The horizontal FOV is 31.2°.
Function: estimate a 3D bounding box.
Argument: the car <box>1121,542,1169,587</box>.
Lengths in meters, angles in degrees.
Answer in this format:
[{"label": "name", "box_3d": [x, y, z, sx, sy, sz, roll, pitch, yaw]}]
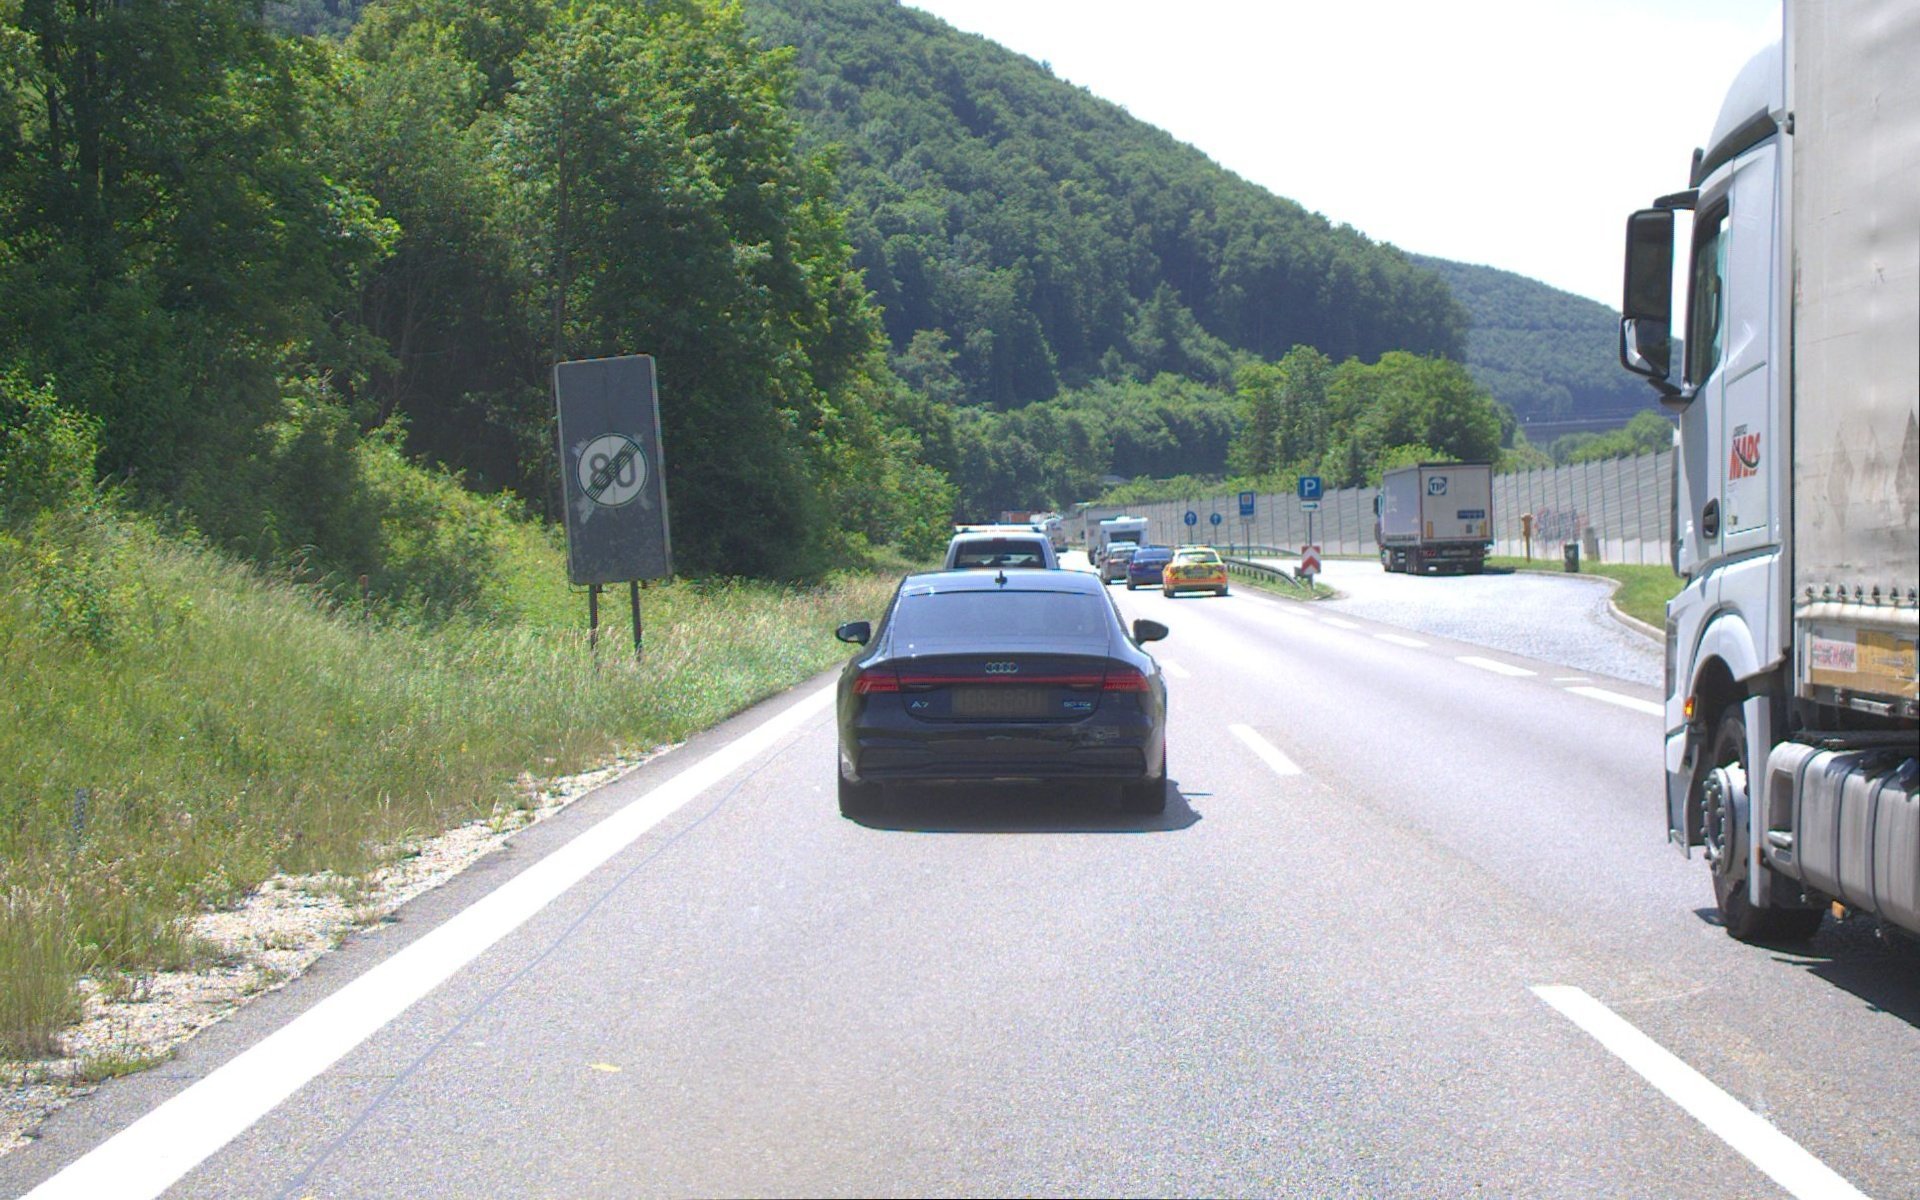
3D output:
[{"label": "car", "box_3d": [6.384, -1.214, 118.781, 1.530, 1.520, 3.596, 1, 0, 2]}]

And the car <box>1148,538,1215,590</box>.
[{"label": "car", "box_3d": [6.623, -1.089, 103.279, 1.879, 1.493, 4.000, -1, 1, 2]}]

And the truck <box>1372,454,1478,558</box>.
[{"label": "truck", "box_3d": [17.804, -3.581, 131.935, 3.412, 3.887, 5.387, 0, 1, 1]}]

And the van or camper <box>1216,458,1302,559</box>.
[{"label": "van or camper", "box_3d": [11.757, -3.559, 135.543, 2.794, 3.828, 6.167, 1, 0, 0]}]

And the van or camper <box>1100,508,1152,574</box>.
[{"label": "van or camper", "box_3d": [8.062, -2.850, 167.504, 2.429, 3.144, 5.203, 1, 0, 2]}]

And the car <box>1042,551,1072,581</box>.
[{"label": "car", "box_3d": [5.248, -1.845, 186.198, 1.521, 1.548, 3.514, 2, 1, 1]}]

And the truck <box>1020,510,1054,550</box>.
[{"label": "truck", "box_3d": [5.303, -4.754, 235.304, 2.065, 2.597, 5.613, 2, 1, 3]}]

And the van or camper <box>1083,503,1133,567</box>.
[{"label": "van or camper", "box_3d": [9.310, -4.046, 216.396, 2.794, 3.894, 6.167, 1, 0, 0]}]

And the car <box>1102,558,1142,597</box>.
[{"label": "car", "box_3d": [6.463, -0.884, 137.621, 1.530, 1.520, 3.596, 1, 0, 2]}]

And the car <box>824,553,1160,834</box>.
[{"label": "car", "box_3d": [0.246, 0.485, 20.427, 1.812, 1.509, 3.514, 0, 1, 2]}]

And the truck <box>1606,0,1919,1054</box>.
[{"label": "truck", "box_3d": [4.161, -0.703, 11.919, 2.719, 4.054, 5.754, 0, 0, 0]}]

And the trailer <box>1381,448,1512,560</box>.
[{"label": "trailer", "box_3d": [17.711, -3.453, 125.911, 3.412, 3.887, 11.151, 0, 1, 1]}]

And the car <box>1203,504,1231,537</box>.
[{"label": "car", "box_3d": [16.045, -4.944, 214.921, 1.576, 2.007, 3.428, -1, 1, 2]}]

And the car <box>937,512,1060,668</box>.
[{"label": "car", "box_3d": [0.515, -0.143, 45.916, 1.521, 1.961, 3.514, 2, 1, 1]}]

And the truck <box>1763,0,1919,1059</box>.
[{"label": "truck", "box_3d": [4.192, -0.663, 5.105, 2.726, 4.054, 13.742, 0, 0, 0]}]
